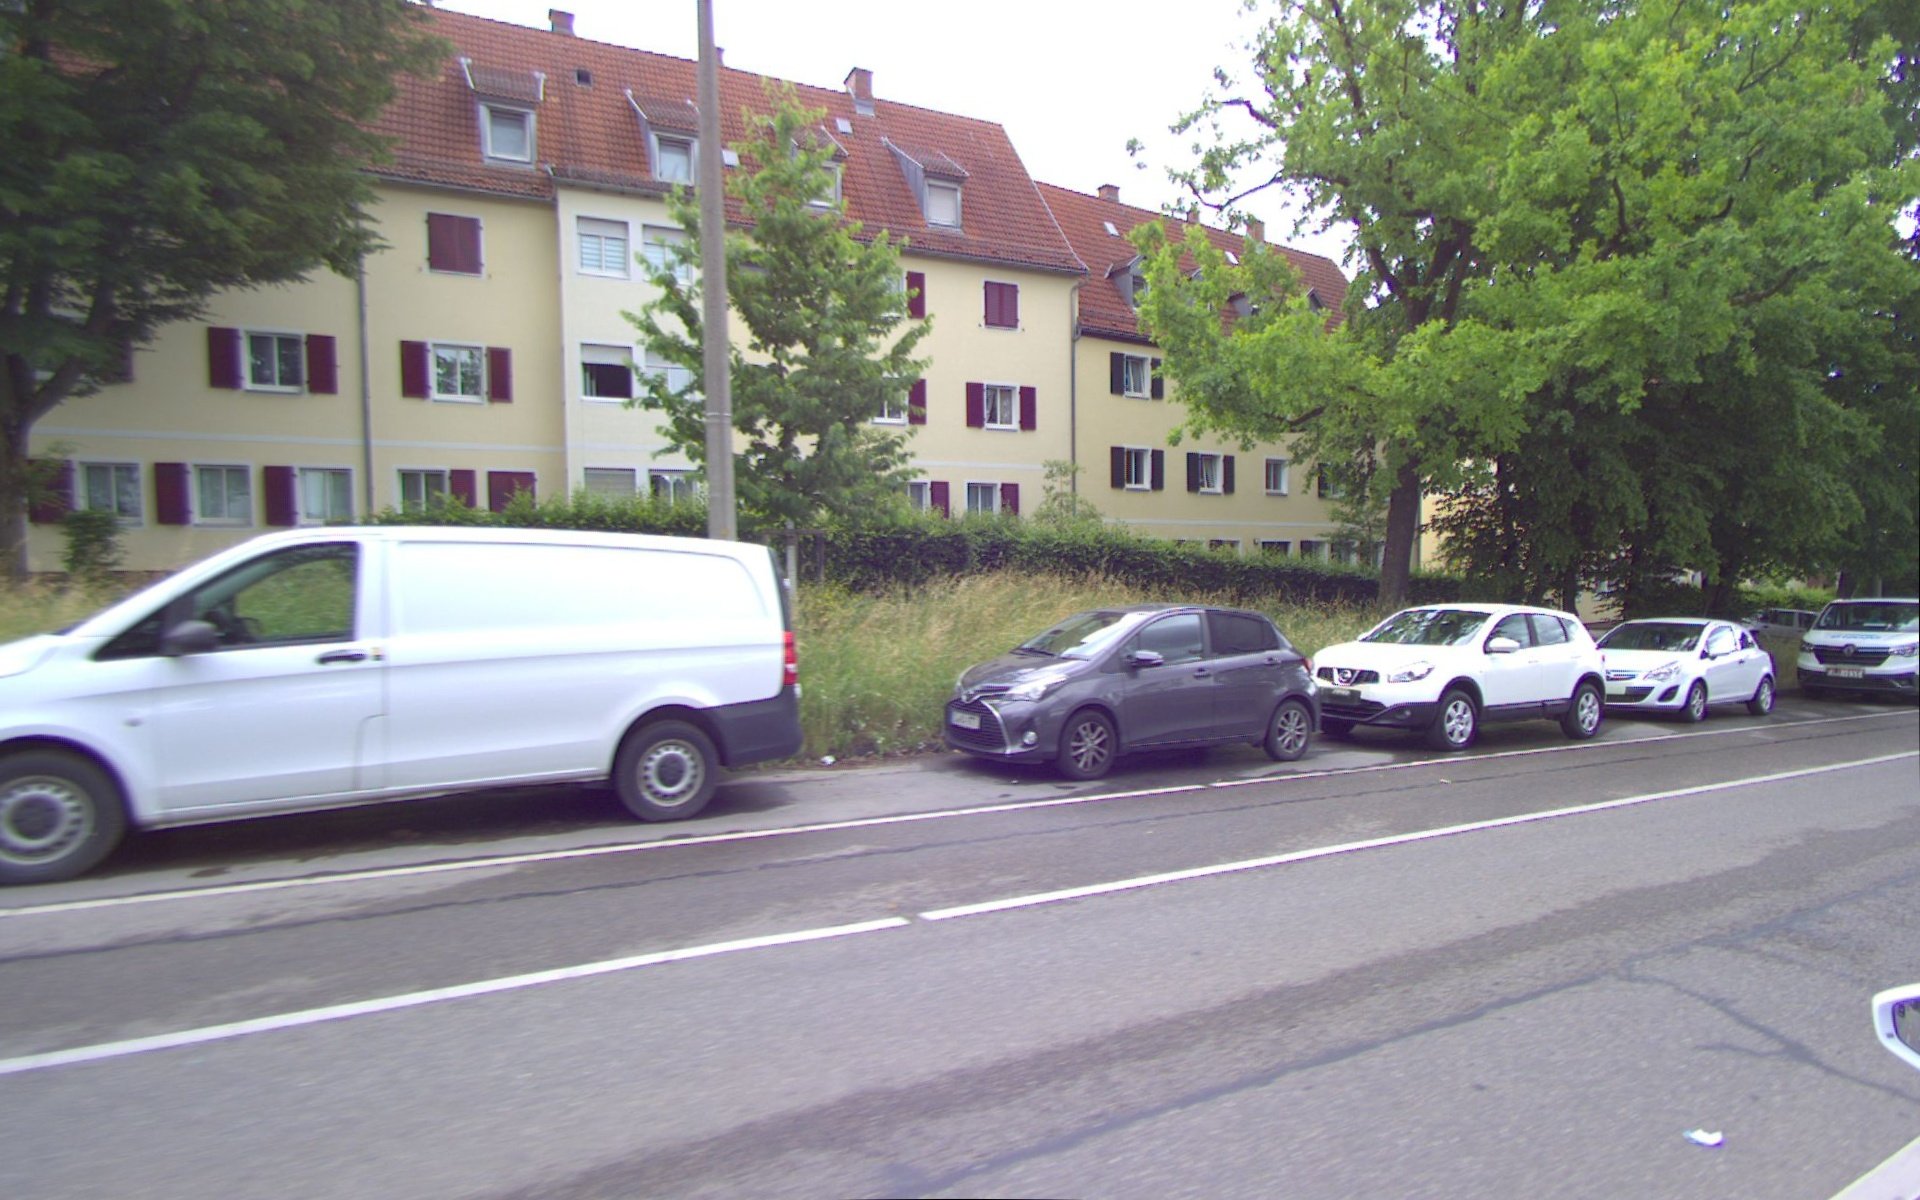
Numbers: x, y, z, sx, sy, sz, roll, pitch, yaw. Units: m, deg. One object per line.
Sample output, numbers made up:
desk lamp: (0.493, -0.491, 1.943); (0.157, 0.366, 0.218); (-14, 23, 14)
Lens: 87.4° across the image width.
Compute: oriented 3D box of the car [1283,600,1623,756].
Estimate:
car: (5.994, 0.835, 12.085); (4.233, 1.585, 1.664); (1, 0, -32)

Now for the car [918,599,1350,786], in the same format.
car: (1.748, 0.787, 9.784); (3.995, 1.507, 1.666); (1, -1, -29)

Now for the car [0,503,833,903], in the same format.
car: (-3.544, 0.492, 6.623); (5.096, 1.957, 1.759); (0, 2, -31)

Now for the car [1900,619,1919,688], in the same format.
car: (22.913, 1.215, 22.721); (3.680, 1.501, 1.572); (1, 0, -33)

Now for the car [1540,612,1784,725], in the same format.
car: (10.852, 0.979, 15.459); (4.046, 1.498, 1.652); (1, 0, -33)

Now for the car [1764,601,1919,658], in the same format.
car: (31.071, 0.977, 34.923); (1.864, 1.474, 4.412); (1, 5, -28)

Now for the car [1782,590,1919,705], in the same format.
car: (18.279, 0.865, 19.633); (5.069, 1.990, 1.856); (1, 0, -32)

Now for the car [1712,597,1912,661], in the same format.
car: (26.793, 0.854, 31.736); (1.850, 1.470, 4.402); (1, 5, -35)
